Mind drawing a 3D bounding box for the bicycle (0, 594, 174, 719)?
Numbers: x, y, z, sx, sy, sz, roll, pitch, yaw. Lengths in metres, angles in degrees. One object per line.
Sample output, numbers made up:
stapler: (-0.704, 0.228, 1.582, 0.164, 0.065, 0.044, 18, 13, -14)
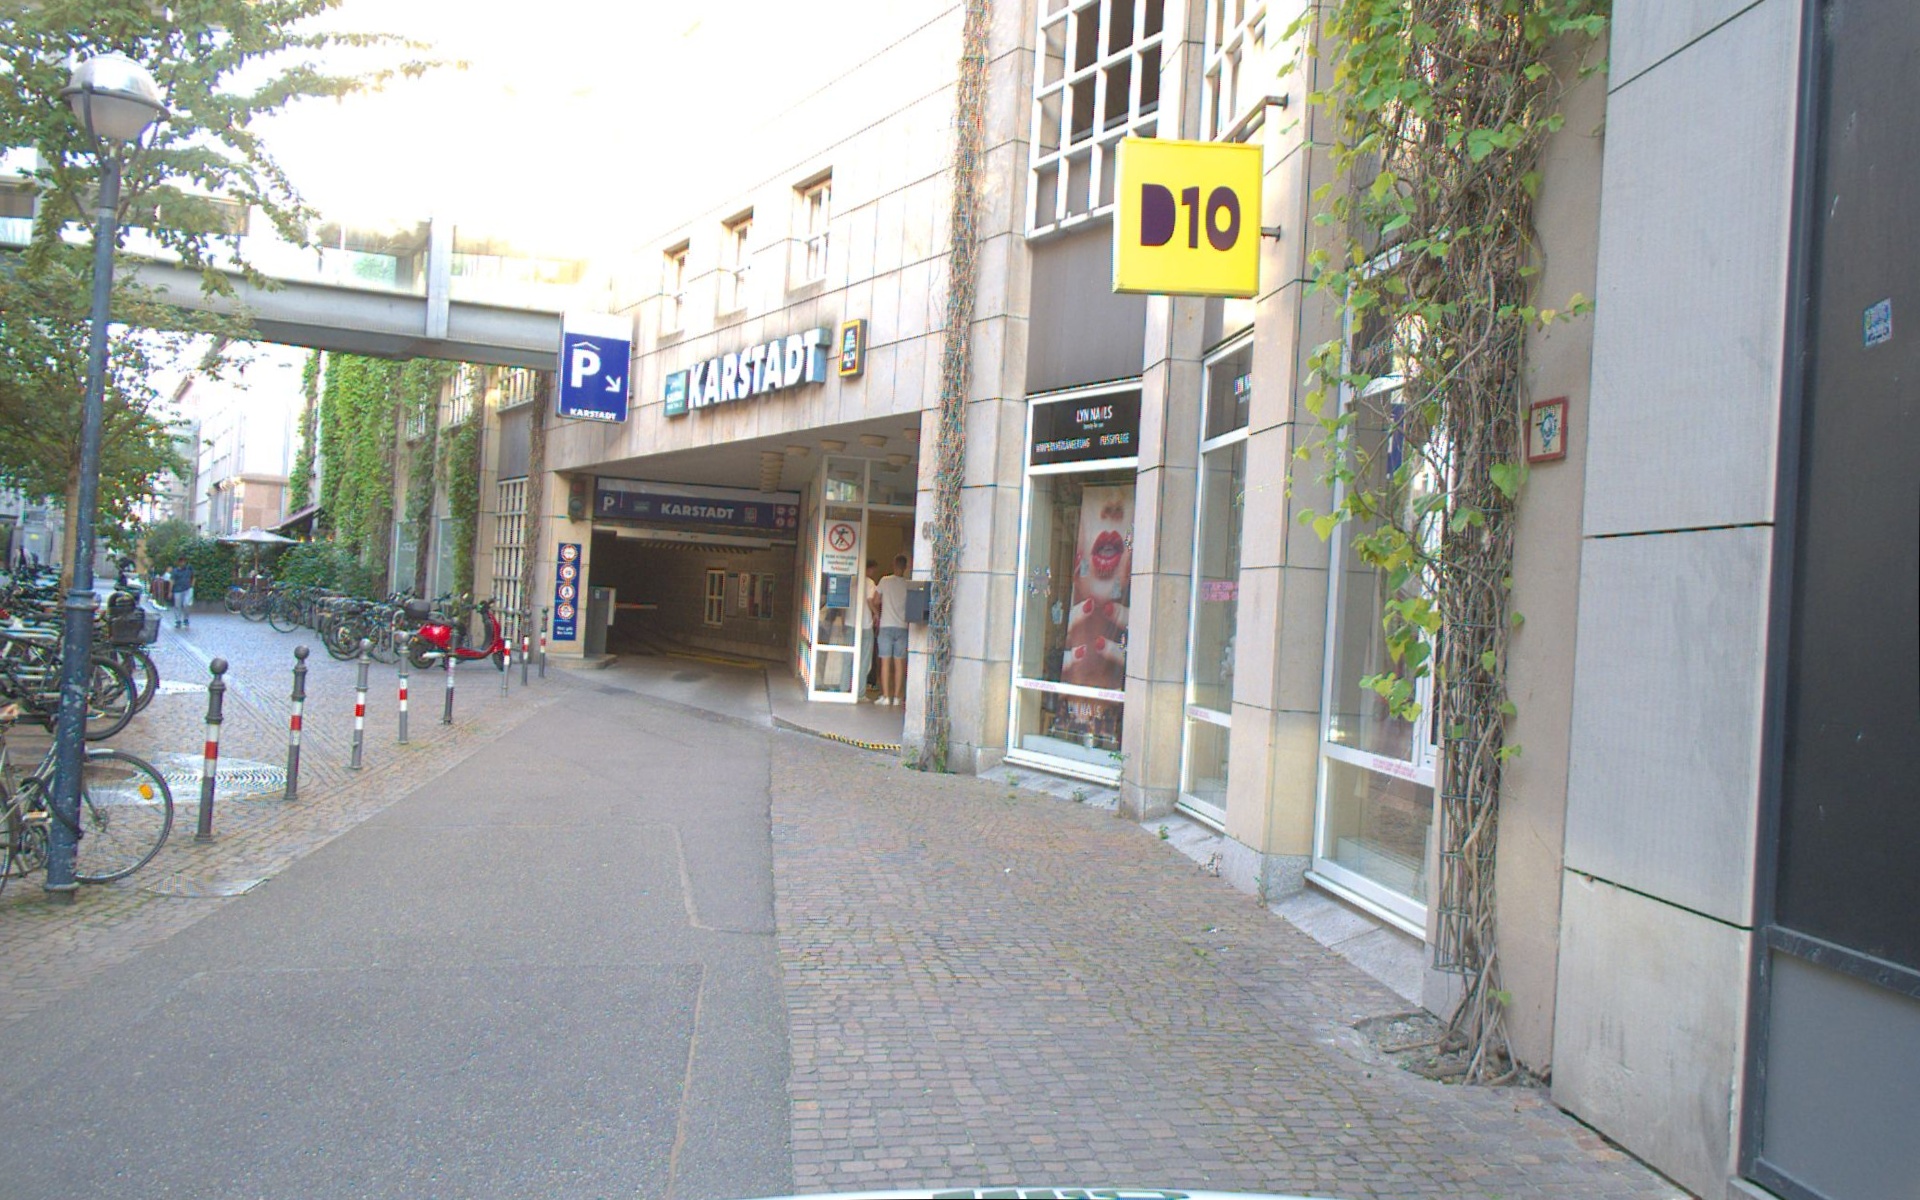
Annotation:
bicycle: (-8.614, 0.535, 15.849, 1.891, 1.121, 0.690, 3, 0, -28)

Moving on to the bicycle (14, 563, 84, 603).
bicycle: (-29.927, -0.569, 54.365, 1.888, 1.203, 0.691, 3, 0, -25)

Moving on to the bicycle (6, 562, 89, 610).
bicycle: (-24.967, -0.377, 45.292, 1.888, 1.203, 0.691, 3, 0, -25)

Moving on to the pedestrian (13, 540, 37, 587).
pedestrian: (-37.328, -1.456, 66.017, 0.766, 1.836, 0.628, 3, 0, -30)

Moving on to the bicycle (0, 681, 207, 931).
bicycle: (-4.254, 0.916, 7.696, 0.494, 0.983, 1.696, 2, 0, 8)

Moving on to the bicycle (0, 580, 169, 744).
bicycle: (-7.605, 0.496, 13.636, 1.891, 1.283, 0.801, 3, 0, -28)

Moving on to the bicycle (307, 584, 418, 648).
bicycle: (-11.698, 0.315, 32.412, 1.970, 1.203, 0.688, 1, 1, -27)

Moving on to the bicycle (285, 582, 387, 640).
bicycle: (-13.349, 0.234, 35.405, 1.970, 1.203, 0.688, 1, 1, -27)

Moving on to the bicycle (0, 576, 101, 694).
bicycle: (-10.326, 0.352, 17.719, 1.888, 1.203, 0.691, 3, 0, -25)

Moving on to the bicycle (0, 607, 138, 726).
bicycle: (-8.505, 0.587, 14.937, 1.891, 1.011, 0.690, 3, 0, -28)

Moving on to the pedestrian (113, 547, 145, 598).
pedestrian: (-28.008, -0.935, 55.751, 0.881, 1.668, 0.903, 3, 0, -29)

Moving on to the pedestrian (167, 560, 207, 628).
pedestrian: (-18.092, -0.138, 38.701, 0.740, 1.536, 0.632, 3, 0, -29)

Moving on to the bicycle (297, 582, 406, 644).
bicycle: (-12.221, 0.256, 33.230, 1.970, 1.203, 0.688, 1, 1, -27)

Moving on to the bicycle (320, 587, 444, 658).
bicycle: (-10.140, 0.403, 29.021, 1.970, 1.203, 0.796, 1, 1, -27)

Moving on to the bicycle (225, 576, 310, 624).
bicycle: (-17.939, 0.009, 42.867, 1.970, 1.203, 0.688, 1, 1, -27)

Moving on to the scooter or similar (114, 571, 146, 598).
scooter or similar: (-27.589, -0.524, 54.960, 0.881, 0.858, 0.903, 3, 0, -29)

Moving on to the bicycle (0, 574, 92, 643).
bicycle: (-17.255, 0.151, 30.751, 1.888, 1.203, 0.691, 3, 0, -25)

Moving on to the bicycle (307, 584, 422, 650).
bicycle: (-11.325, 0.325, 31.468, 1.970, 1.203, 0.796, 1, 1, -27)

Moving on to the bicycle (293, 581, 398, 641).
bicycle: (-12.784, 0.239, 34.400, 1.970, 1.203, 0.688, 1, 1, -27)

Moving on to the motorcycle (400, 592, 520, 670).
motorcycle: (-7.824, 0.489, 25.894, 1.723, 1.175, 0.590, 1, 0, -25)

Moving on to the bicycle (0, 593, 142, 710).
bicycle: (-9.474, 0.516, 16.928, 1.888, 1.121, 0.691, 3, 0, -25)

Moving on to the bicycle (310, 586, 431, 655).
bicycle: (-10.720, 0.380, 30.085, 1.970, 1.203, 0.796, 1, 1, -27)

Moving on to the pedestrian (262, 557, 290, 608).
pedestrian: (-24.888, -0.640, 60.187, 0.766, 1.836, 0.760, 3, 0, -30)

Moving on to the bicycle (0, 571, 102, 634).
bicycle: (-18.872, 0.048, 34.204, 1.888, 1.203, 0.691, 3, 0, -25)

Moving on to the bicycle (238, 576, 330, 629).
bicycle: (-16.034, 0.056, 39.248, 1.970, 1.203, 0.688, 1, 1, -27)

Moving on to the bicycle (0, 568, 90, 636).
bicycle: (-17.702, 0.028, 31.504, 1.888, 1.203, 0.691, 3, 0, -25)

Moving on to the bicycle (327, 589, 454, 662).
bicycle: (-9.702, 0.441, 28.193, 1.970, 1.203, 0.690, 1, 1, -27)

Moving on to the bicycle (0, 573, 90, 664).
bicycle: (-13.152, 0.233, 22.851, 1.888, 1.203, 0.691, 3, 0, -25)

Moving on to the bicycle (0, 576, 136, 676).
bicycle: (-11.690, 0.333, 21.256, 1.888, 1.203, 0.691, 3, 0, -25)

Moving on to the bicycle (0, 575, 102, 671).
bicycle: (-12.474, 0.289, 21.894, 1.888, 1.203, 0.691, 3, 0, -25)

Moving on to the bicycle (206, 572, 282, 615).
bicycle: (-20.692, -0.186, 47.832, 1.970, 1.203, 0.688, 1, 1, -27)

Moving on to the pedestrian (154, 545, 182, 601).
pedestrian: (-26.532, -0.891, 55.391, 0.756, 1.836, 0.770, 3, 0, -29)

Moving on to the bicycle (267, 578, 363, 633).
bicycle: (-14.665, 0.126, 37.604, 1.970, 1.203, 0.688, 1, 1, -27)

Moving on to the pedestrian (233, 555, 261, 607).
pedestrian: (-25.870, -0.695, 60.015, 0.766, 1.836, 0.760, 3, 0, -30)

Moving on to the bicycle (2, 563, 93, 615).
bicycle: (-22.924, -0.278, 41.578, 1.888, 1.203, 0.691, 3, 0, -25)

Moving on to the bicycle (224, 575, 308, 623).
bicycle: (-18.306, -0.024, 43.634, 1.970, 1.203, 0.688, 1, 1, -27)

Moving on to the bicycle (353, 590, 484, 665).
bicycle: (-8.971, 0.457, 27.426, 1.970, 1.203, 0.690, 1, 1, -27)

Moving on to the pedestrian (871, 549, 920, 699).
pedestrian: (-0.831, 0.300, 21.353, 0.531, 1.894, 0.408, 3, 0, -1)

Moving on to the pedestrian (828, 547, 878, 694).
pedestrian: (-1.390, 0.264, 21.567, 0.531, 1.878, 0.408, 3, 0, -1)
